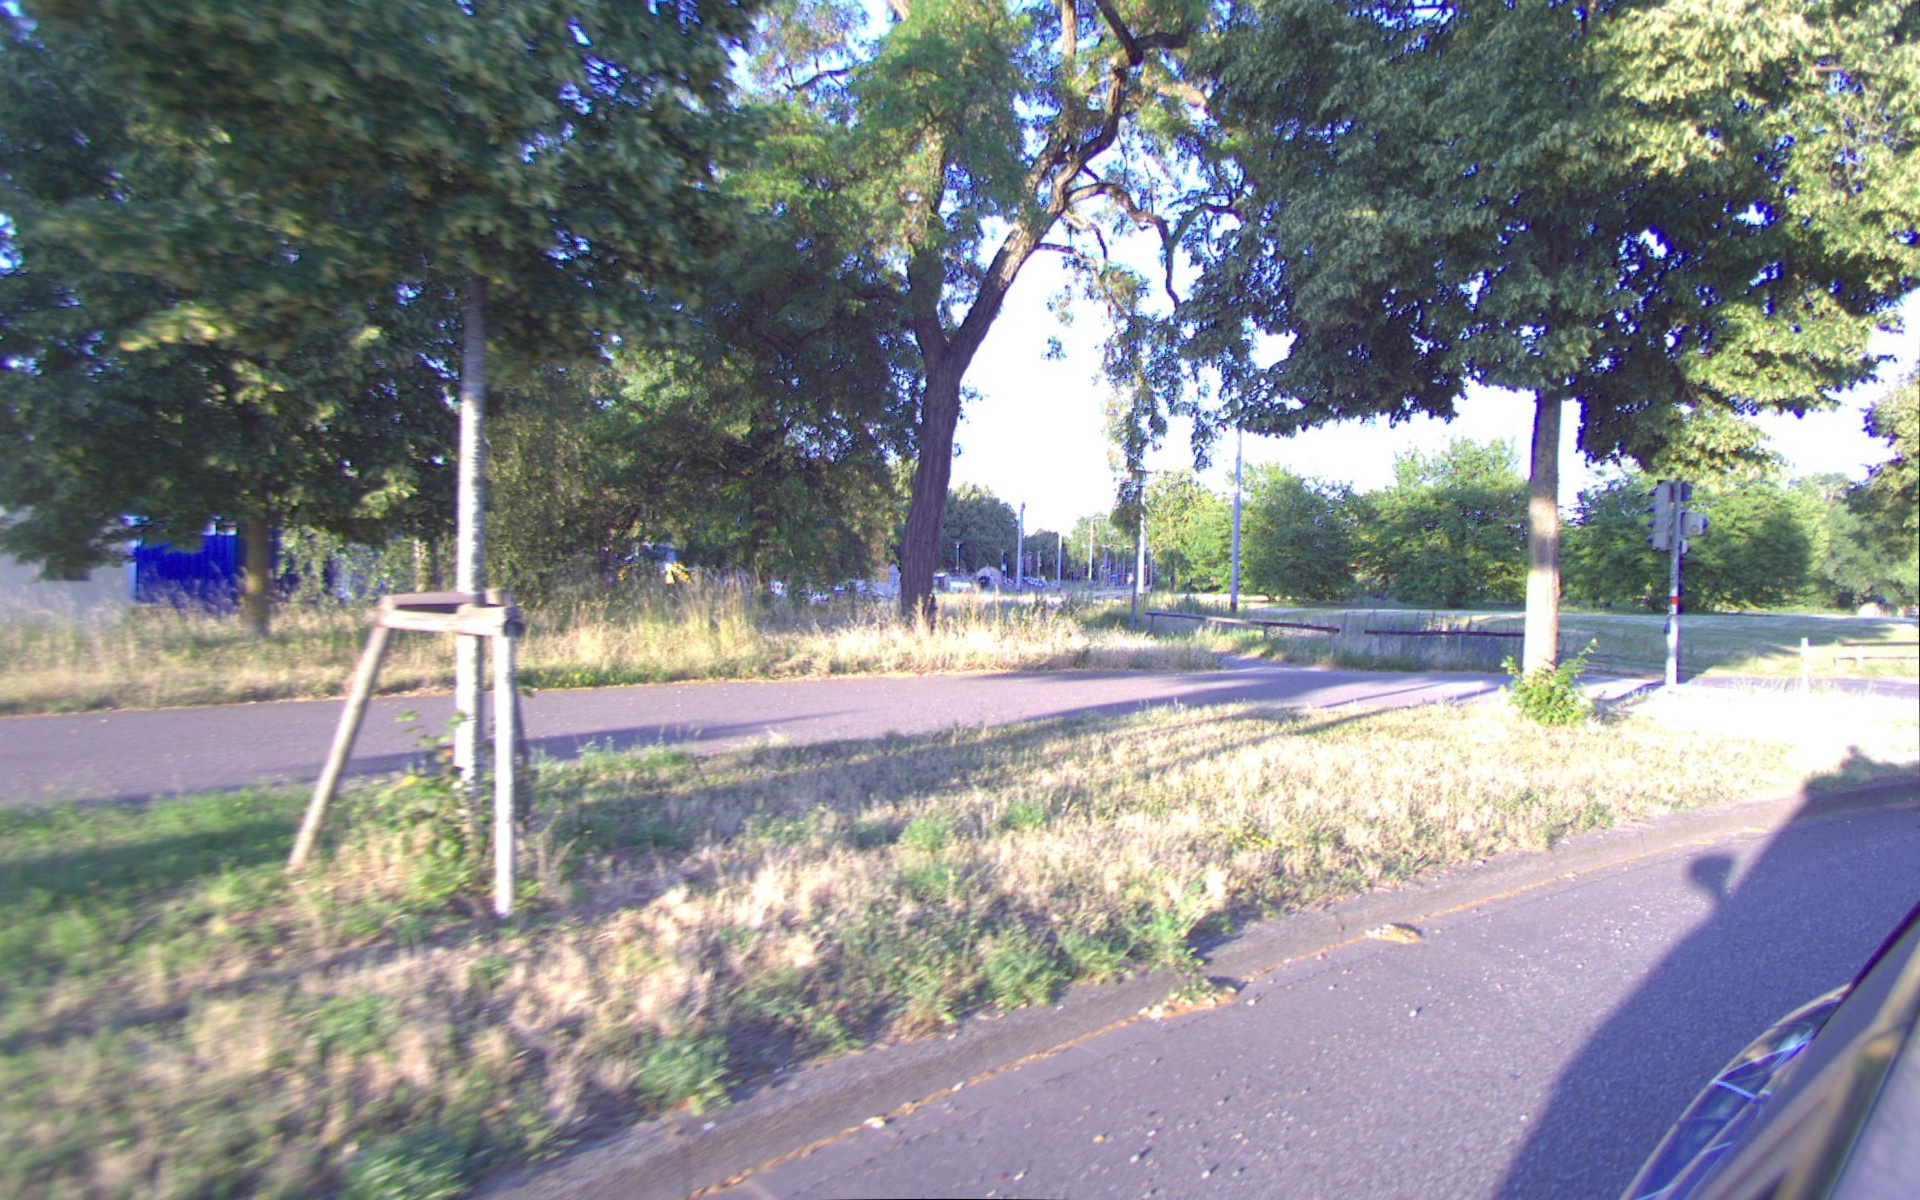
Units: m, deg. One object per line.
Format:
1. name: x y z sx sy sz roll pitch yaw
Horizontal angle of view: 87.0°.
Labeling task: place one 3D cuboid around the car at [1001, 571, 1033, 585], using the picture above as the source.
1. car: 6.684 -2.581 118.588 3.549 1.500 1.708 3 0 6

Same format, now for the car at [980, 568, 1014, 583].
1. car: 4.101 -2.660 110.758 3.549 1.500 1.708 3 0 6
